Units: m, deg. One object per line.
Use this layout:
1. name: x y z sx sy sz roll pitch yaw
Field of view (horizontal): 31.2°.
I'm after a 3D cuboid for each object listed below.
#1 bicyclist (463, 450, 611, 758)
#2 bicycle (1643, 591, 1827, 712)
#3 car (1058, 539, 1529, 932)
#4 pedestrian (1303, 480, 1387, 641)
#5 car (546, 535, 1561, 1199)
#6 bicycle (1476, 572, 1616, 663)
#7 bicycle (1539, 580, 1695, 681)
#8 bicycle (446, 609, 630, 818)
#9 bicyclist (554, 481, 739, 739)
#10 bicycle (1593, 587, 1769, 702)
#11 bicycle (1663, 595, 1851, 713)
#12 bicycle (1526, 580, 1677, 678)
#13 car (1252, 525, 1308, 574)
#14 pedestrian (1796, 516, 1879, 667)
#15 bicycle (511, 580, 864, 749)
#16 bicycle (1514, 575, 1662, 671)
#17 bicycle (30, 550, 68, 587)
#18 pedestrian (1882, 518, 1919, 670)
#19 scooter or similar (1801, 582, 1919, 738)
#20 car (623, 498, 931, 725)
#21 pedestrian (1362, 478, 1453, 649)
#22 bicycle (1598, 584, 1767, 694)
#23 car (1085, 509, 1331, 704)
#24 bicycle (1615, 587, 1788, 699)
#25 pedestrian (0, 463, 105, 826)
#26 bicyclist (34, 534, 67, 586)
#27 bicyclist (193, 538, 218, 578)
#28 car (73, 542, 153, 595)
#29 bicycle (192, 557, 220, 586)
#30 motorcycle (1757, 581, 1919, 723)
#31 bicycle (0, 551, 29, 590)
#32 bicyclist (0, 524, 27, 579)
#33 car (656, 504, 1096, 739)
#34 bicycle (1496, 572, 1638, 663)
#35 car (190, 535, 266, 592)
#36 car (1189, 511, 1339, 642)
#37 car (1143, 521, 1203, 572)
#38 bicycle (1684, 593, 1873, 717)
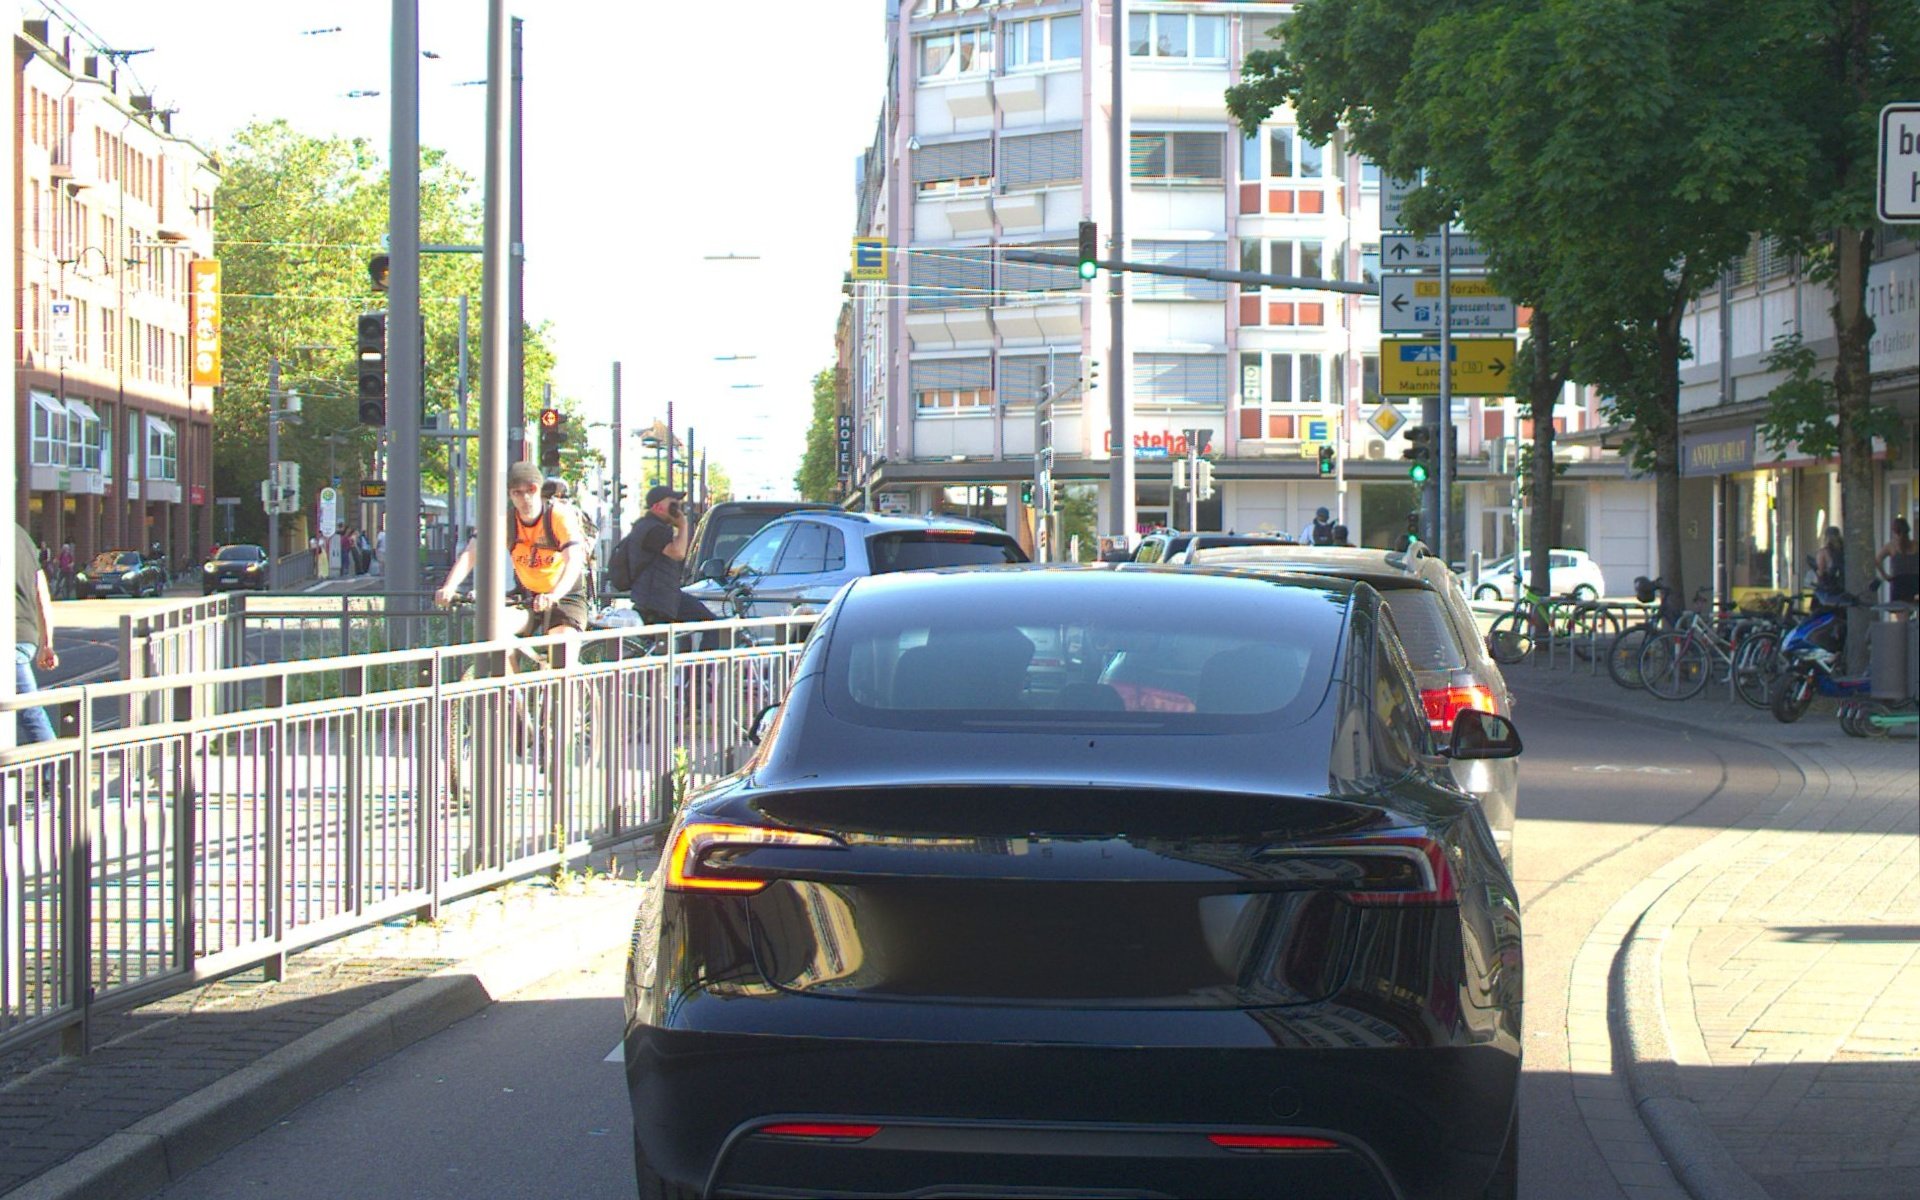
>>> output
1. bicyclist: -2.140 0.014 17.470 0.391 1.516 1.043 1 0 13
2. bicycle: 7.183 0.475 31.869 1.649 1.095 0.350 1 0 -10
3. car: 1.459 0.474 14.995 1.751 1.449 3.999 1 1 6
4. pedestrian: 4.871 -0.499 43.556 0.921 2.007 0.972 1 0 -1
5. car: 0.311 0.602 8.239 1.829 1.450 3.999 1 1 4
6. bicycle: 7.234 0.217 42.476 1.650 1.095 0.350 1 0 1
7. bicycle: 7.312 0.340 38.297 1.650 1.095 0.350 1 0 1
8. bicycle: -2.128 0.551 17.485 0.402 0.990 1.601 1 1 13
9. bicyclist: -2.031 0.056 22.224 0.758 1.623 0.978 0 1 -39
10. bicycle: 7.002 0.432 33.396 1.649 1.095 0.350 1 0 -10
11. bicycle: 7.288 0.492 31.445 1.649 1.057 0.350 1 0 -10
12. bicycle: 7.332 0.326 39.323 1.650 1.095 0.350 1 0 1
13. car: 7.262 -1.158 77.957 0.922 1.096 1.866 0 1 16
14. pedestrian: 9.804 -0.099 38.426 0.699 1.656 0.777 1 0 -1
15. bicycle: -1.760 0.407 22.500 2.329 1.050 0.631 0 1 -38
16. bicycle: 7.364 0.265 40.336 1.650 1.095 0.350 1 0 1
17. bicycle: -27.181 -0.954 102.562 0.529 1.085 2.284 0 1 0
18. pedestrian: 10.694 -0.068 38.681 0.526 1.704 0.403 1 0 5
19. scooter or similar: 7.559 0.473 27.185 1.644 1.211 0.644 1 1 30
20. car: -1.805 0.074 32.554 1.993 2.007 4.001 0 1 -17
21. pedestrian: 5.333 -0.434 41.023 0.921 2.007 0.972 1 0 -1
22. bicycle: 7.420 0.400 35.344 1.650 1.095 0.350 1 0 1
23. car: 2.354 0.035 33.555 1.598 1.772 3.982 1 1 -8
24. bicycle: 7.360 0.428 34.131 1.649 1.095 0.350 1 0 -10
25. pedestrian: -4.553 0.200 16.327 0.591 1.675 0.773 1 0 22
26. bicyclist: -27.143 -1.191 102.592 0.784 1.558 0.746 0 1 0
27. bicyclist: -29.456 -1.638 134.224 0.784 1.558 0.746 1 0 2
28. car: -25.294 -0.953 102.745 1.710 1.521 4.037 1 1 -5
29. bicycle: -29.419 -1.112 134.119 0.529 1.085 2.224 1 1 1
30. motorcycle: 7.715 0.443 29.260 1.707 1.169 0.541 1 0 -2
31. bicycle: -27.173 -0.844 97.925 0.537 1.085 2.224 1 1 5
32. bicyclist: -27.172 -1.388 98.152 0.784 1.558 0.746 1 0 5
33. car: -0.743 0.130 26.514 1.883 1.656 4.159 1 1 -25
34. bicycle: 7.301 0.208 41.382 1.650 1.095 0.350 0 1 1
35. car: -22.607 -1.126 106.239 1.697 1.725 3.707 1 1 -3
36. car: 4.247 -0.340 48.485 1.719 1.745 3.754 1 1 -1
37. car: 4.719 -1.187 76.086 0.922 1.096 1.866 1 1 16
38. bicycle: 7.385 0.495 31.023 1.649 1.095 0.350 1 0 -10
